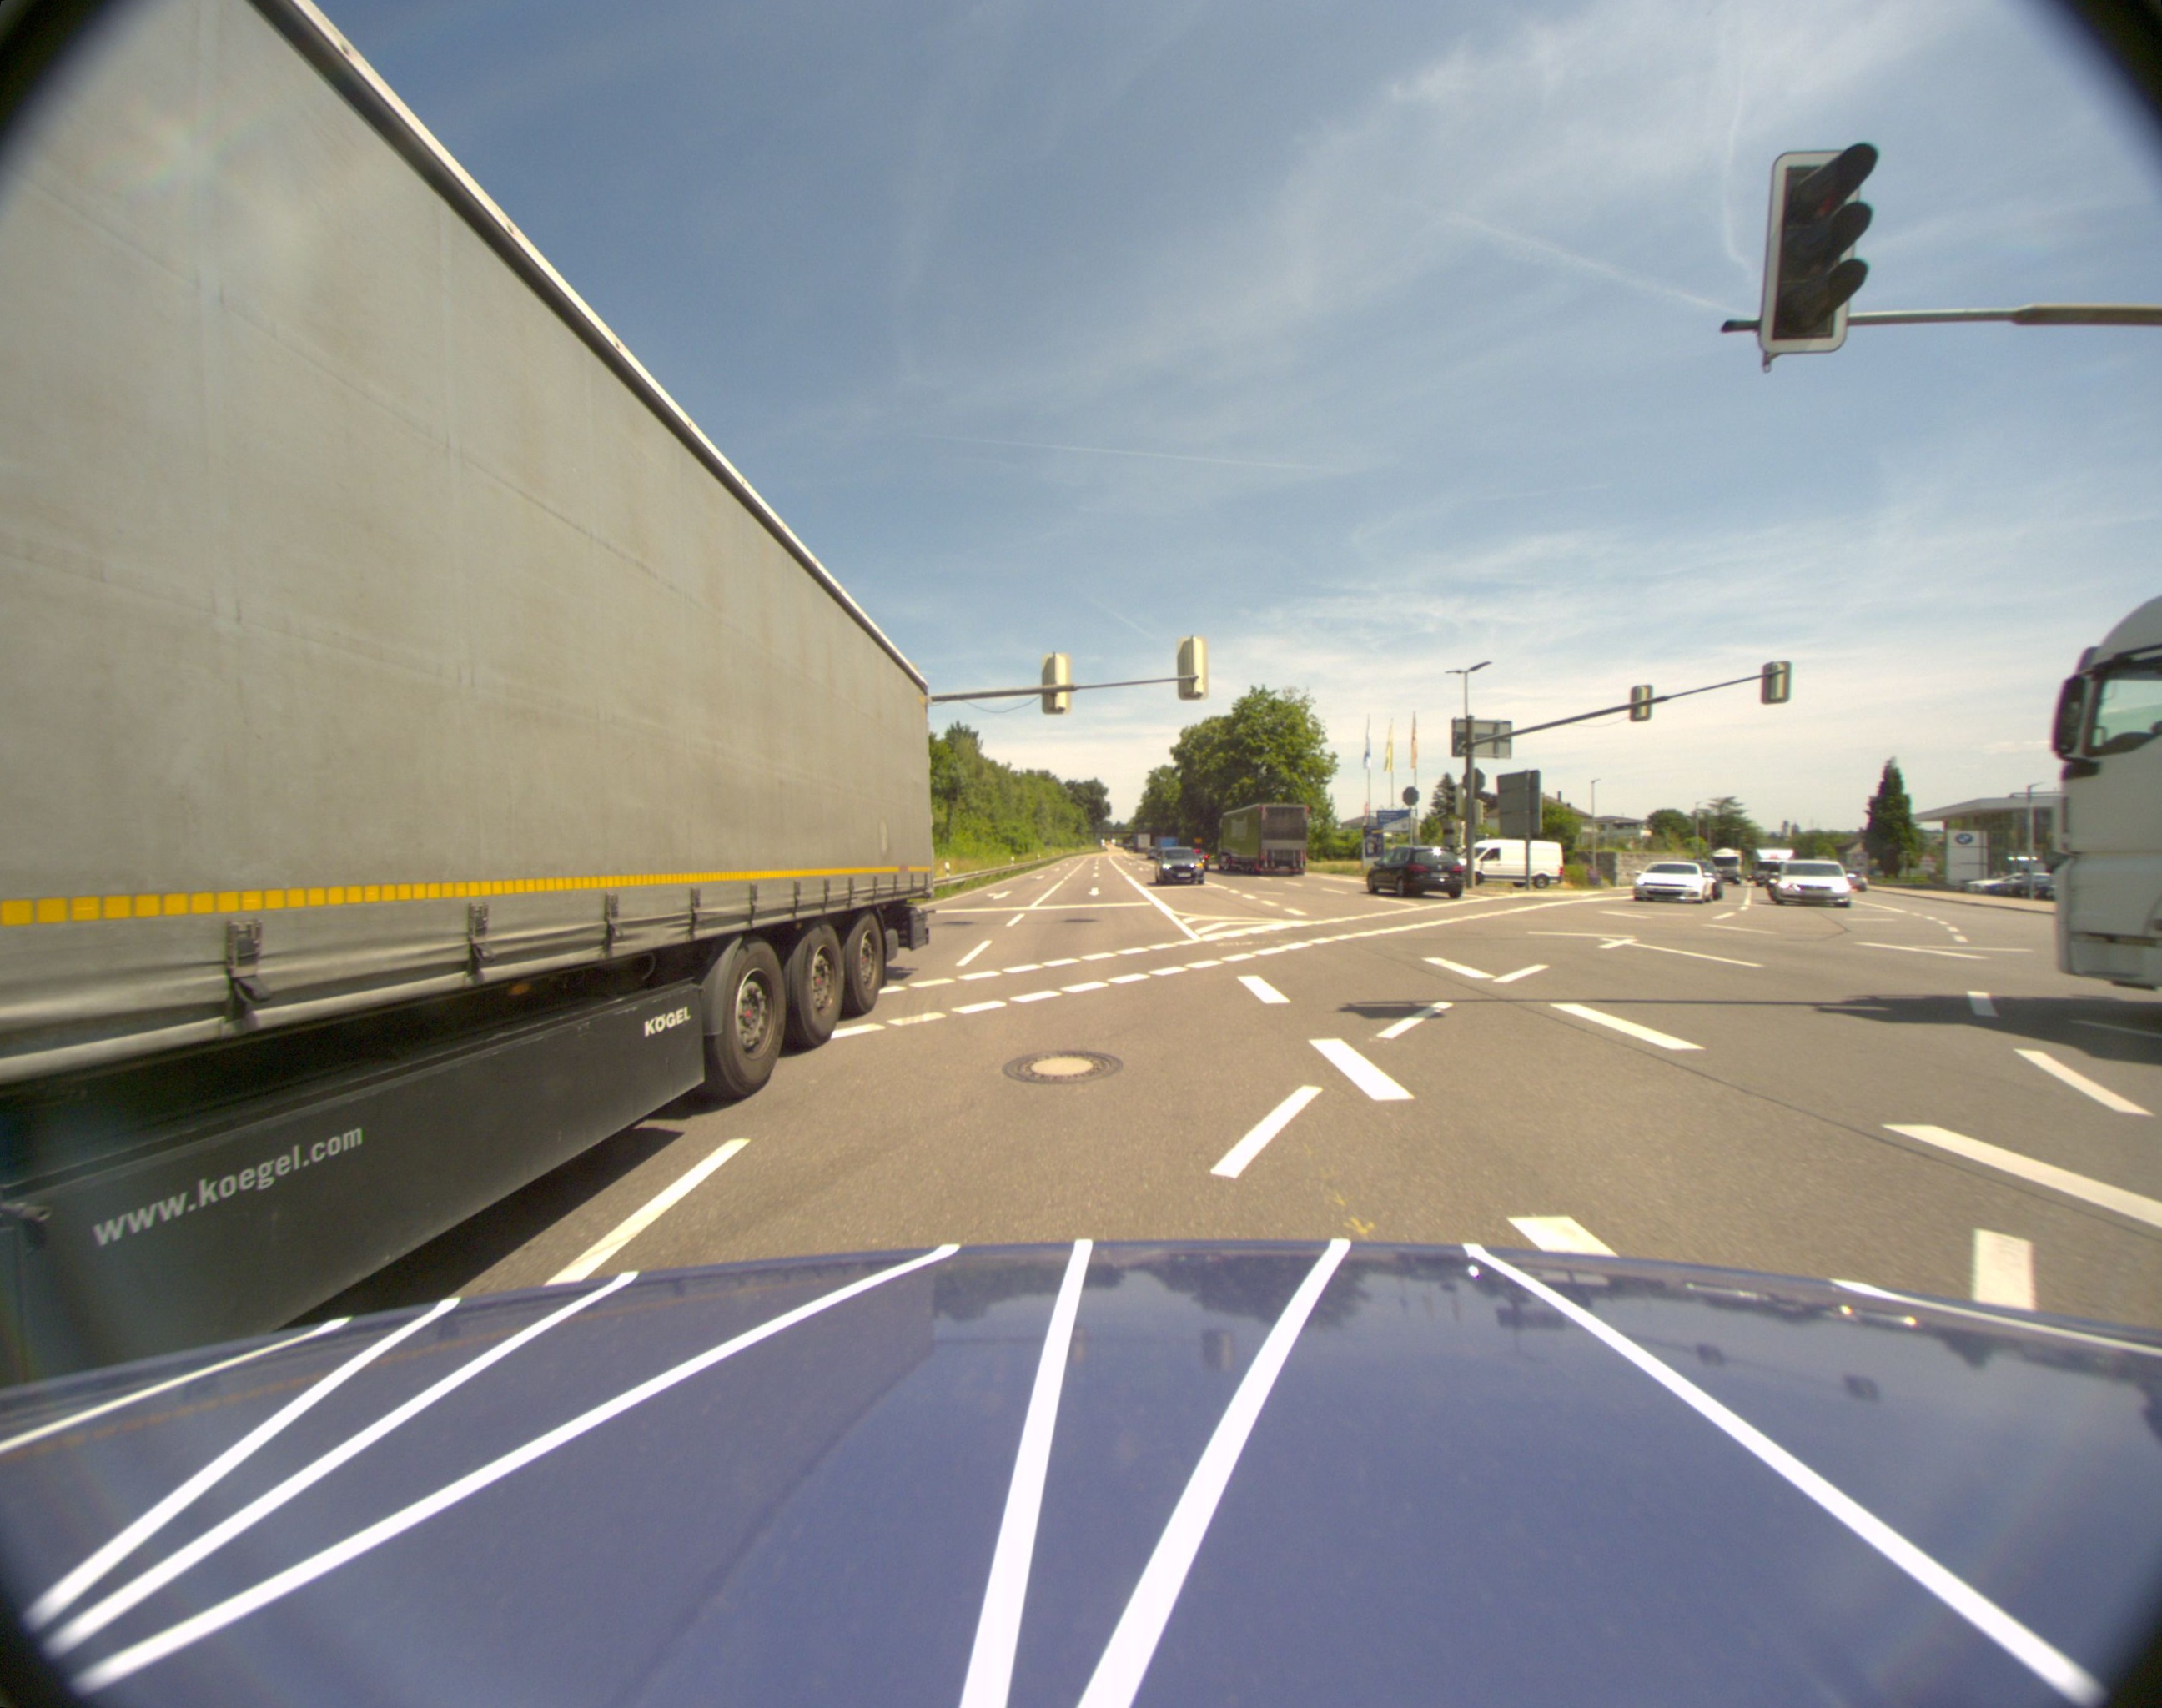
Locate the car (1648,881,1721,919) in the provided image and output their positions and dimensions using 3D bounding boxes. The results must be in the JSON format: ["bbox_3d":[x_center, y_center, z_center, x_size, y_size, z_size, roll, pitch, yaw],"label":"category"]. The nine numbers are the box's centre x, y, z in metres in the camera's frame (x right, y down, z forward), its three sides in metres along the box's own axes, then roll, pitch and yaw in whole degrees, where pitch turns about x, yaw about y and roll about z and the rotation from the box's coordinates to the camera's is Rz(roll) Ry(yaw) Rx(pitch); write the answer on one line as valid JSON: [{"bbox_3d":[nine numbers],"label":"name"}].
[{"bbox_3d":[24.672,1.810,31.008,1.918,1.306,4.009,2,1,44],"label":"car"}]

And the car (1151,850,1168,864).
[{"bbox_3d":[9.149,0.323,88.415,1.687,1.489,3.955,3,1,3],"label":"car"}]

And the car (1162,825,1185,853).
[{"bbox_3d":[14.113,-2.242,116.098,3.349,4.056,7.696,0,1,7],"label":"car"}]

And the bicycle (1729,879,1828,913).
[{"bbox_3d":[28.158,1.673,30.774,1.131,1.163,3.127,1,1,1],"label":"bicycle"}]

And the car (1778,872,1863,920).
[{"bbox_3d":[25.200,1.368,25.964,1.918,1.413,4.009,2,1,44],"label":"car"}]

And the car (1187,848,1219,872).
[{"bbox_3d":[8.176,0.358,51.221,1.687,1.489,3.955,3,1,3],"label":"car"}]

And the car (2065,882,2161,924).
[{"bbox_3d":[44.071,2.050,31.244,3.988,1.565,2.004,2,1,38],"label":"car"}]

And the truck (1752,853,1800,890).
[{"bbox_3d":[64.578,1.563,70.658,2.994,3.201,9.635,2,1,42],"label":"truck"}]

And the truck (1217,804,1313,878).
[{"bbox_3d":[11.497,-0.829,49.834,2.850,3.932,17.088,3,1,3],"label":"truck"}]

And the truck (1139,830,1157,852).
[{"bbox_3d":[14.508,-2.707,163.634,3.533,4.496,7.204,-1,1,6],"label":"truck"}]

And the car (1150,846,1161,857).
[{"bbox_3d":[14.257,-0.417,145.524,1.998,2.002,4.001,1,0,5],"label":"car"}]

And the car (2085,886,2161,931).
[{"bbox_3d":[41.918,2.133,28.939,3.988,1.565,2.004,2,1,38],"label":"car"}]

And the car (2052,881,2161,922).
[{"bbox_3d":[45.678,2.076,32.947,3.988,1.565,2.004,2,1,38],"label":"car"}]

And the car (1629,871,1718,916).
[{"bbox_3d":[19.752,1.253,25.281,1.918,1.306,4.009,2,1,44],"label":"car"}]

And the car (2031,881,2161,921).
[{"bbox_3d":[47.276,2.142,34.980,3.988,1.565,2.004,2,1,38],"label":"car"}]

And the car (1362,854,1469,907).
[{"bbox_3d":[10.388,0.769,23.955,1.687,1.420,4.154,2,1,3],"label":"car"}]

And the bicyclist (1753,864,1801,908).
[{"bbox_3d":[28.200,1.285,30.809,0.969,1.759,1.054,0,1,1],"label":"bicyclist"}]

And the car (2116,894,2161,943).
[{"bbox_3d":[38.299,2.268,25.377,3.988,1.565,2.004,2,1,38],"label":"car"}]

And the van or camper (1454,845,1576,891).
[{"bbox_3d":[23.447,0.724,41.181,5.465,2.398,2.096,0,1,-1],"label":"van or camper"}]

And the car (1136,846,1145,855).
[{"bbox_3d":[13.477,-0.703,172.782,1.898,2.002,3.755,2,0,7],"label":"car"}]

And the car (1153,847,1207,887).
[{"bbox_3d":[4.255,0.511,33.259,1.928,1.601,4.510,-1,1,2],"label":"car"}]

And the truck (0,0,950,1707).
[{"bbox_3d":[-3.450,-0.227,3.528,2.980,3.987,14.122,1,0,1],"label":"truck"}]

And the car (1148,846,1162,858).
[{"bbox_3d":[9.852,-0.261,101.522,1.687,1.489,3.955,3,1,3],"label":"car"}]

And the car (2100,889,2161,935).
[{"bbox_3d":[40.609,2.183,27.527,3.988,1.565,2.004,2,1,38],"label":"car"}]

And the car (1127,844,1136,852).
[{"bbox_3d":[13.483,-1.575,202.234,2.168,2.002,4.002,2,0,6],"label":"car"}]
